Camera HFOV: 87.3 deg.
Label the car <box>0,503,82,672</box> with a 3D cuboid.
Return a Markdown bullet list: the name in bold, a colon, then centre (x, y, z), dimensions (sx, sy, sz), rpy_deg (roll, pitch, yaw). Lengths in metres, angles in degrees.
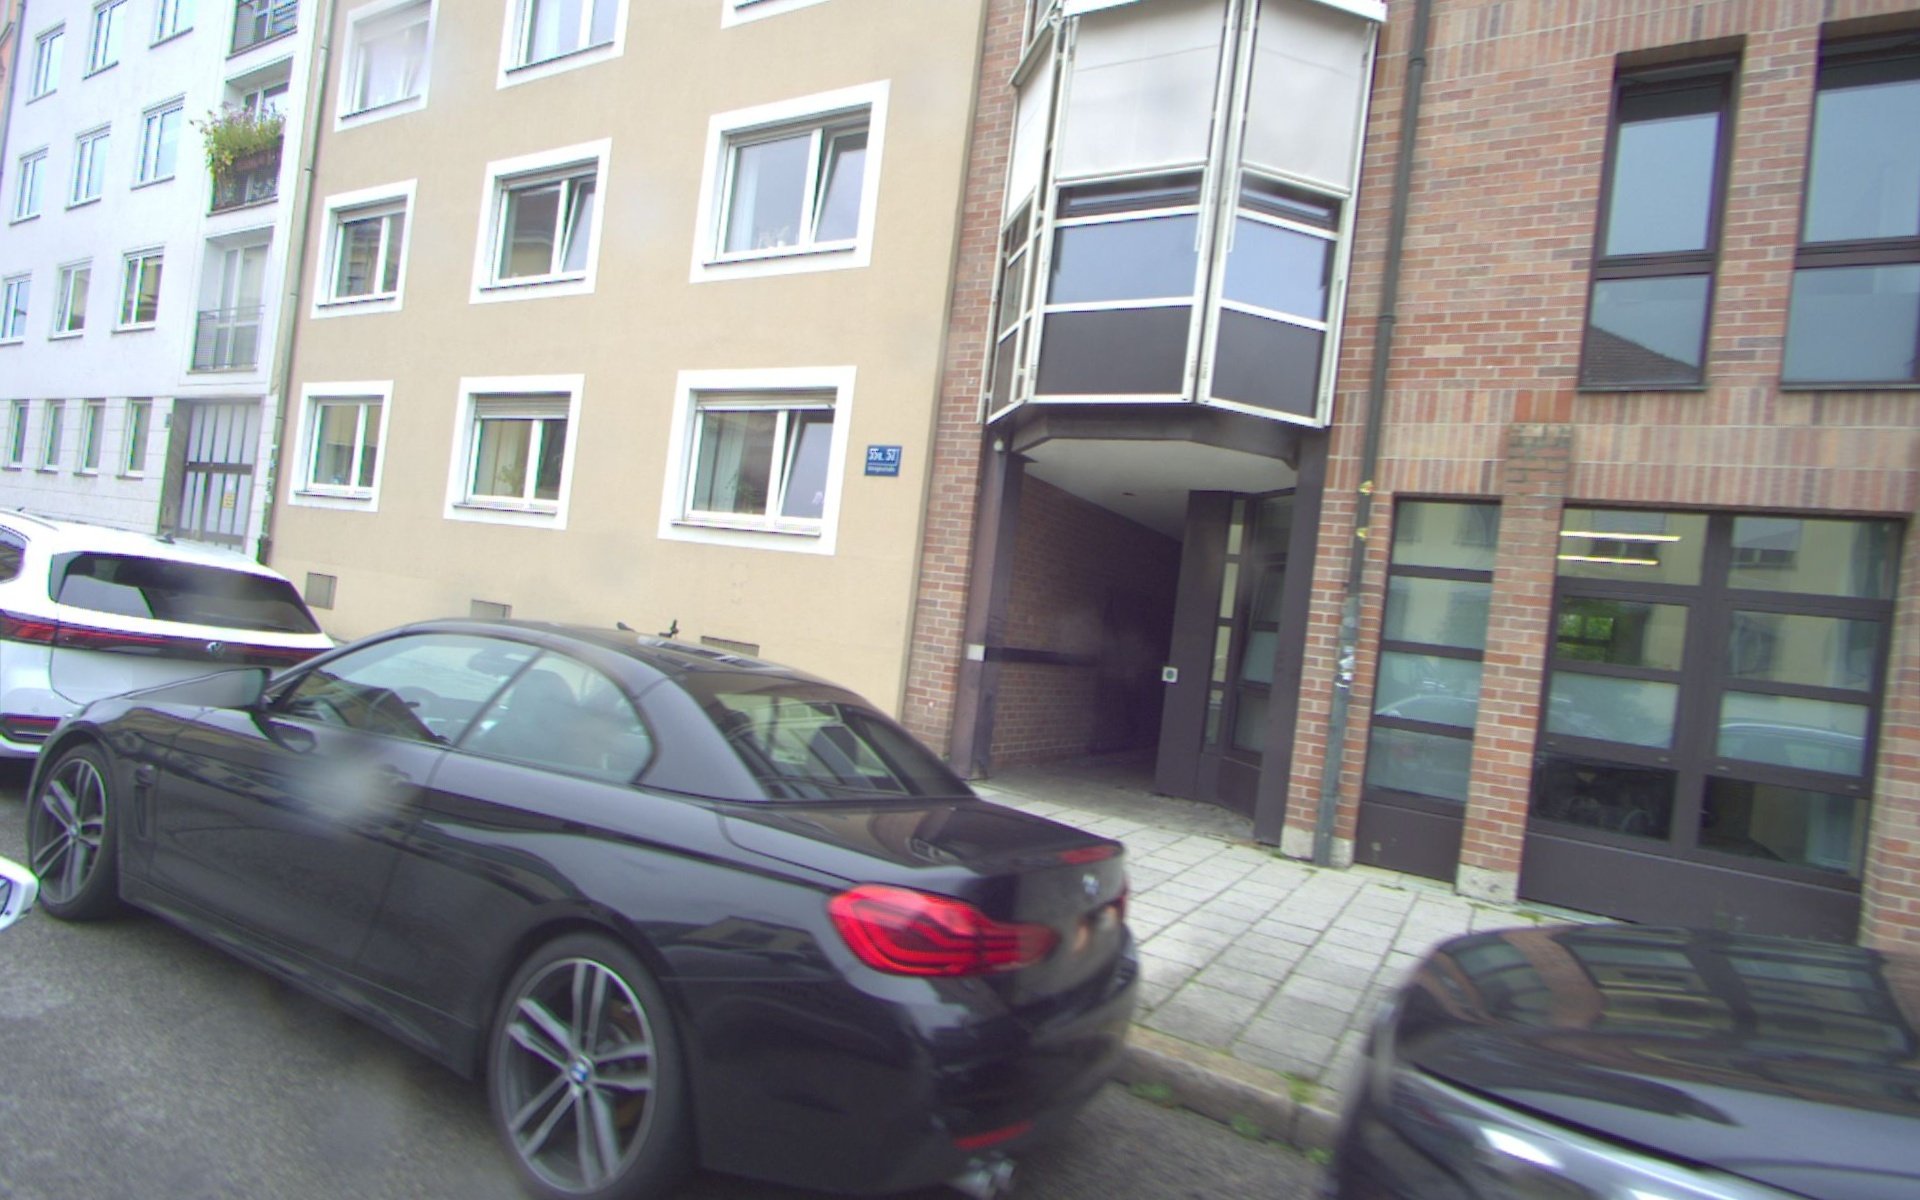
- **car**: centre (-10.600, -0.382, 9.524), dimensions (5.028, 1.431, 1.958), rpy_deg (6, -1, 32)

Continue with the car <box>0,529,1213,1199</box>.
- **car**: centre (-1.657, 0.745, 3.855), dimensions (4.698, 1.379, 1.765), rpy_deg (6, -5, 29)

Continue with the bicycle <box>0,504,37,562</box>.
- **bicycle**: centre (-20.172, -1.456, 21.080), dimensions (1.966, 1.085, 0.530), rpy_deg (7, 0, 28)

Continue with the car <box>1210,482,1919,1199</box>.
- **car**: centre (2.743, 0.989, 1.026), dimensions (4.563, 1.665, 1.882), rpy_deg (7, -1, 27)

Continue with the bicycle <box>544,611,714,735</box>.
- **bicycle**: centre (-3.497, 0.742, 10.580), dimensions (1.724, 1.046, 0.677), rpy_deg (7, 0, 32)

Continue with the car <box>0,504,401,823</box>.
- **car**: centre (-6.085, 0.142, 6.643), dimensions (4.930, 1.431, 1.857), rpy_deg (7, -1, 31)
